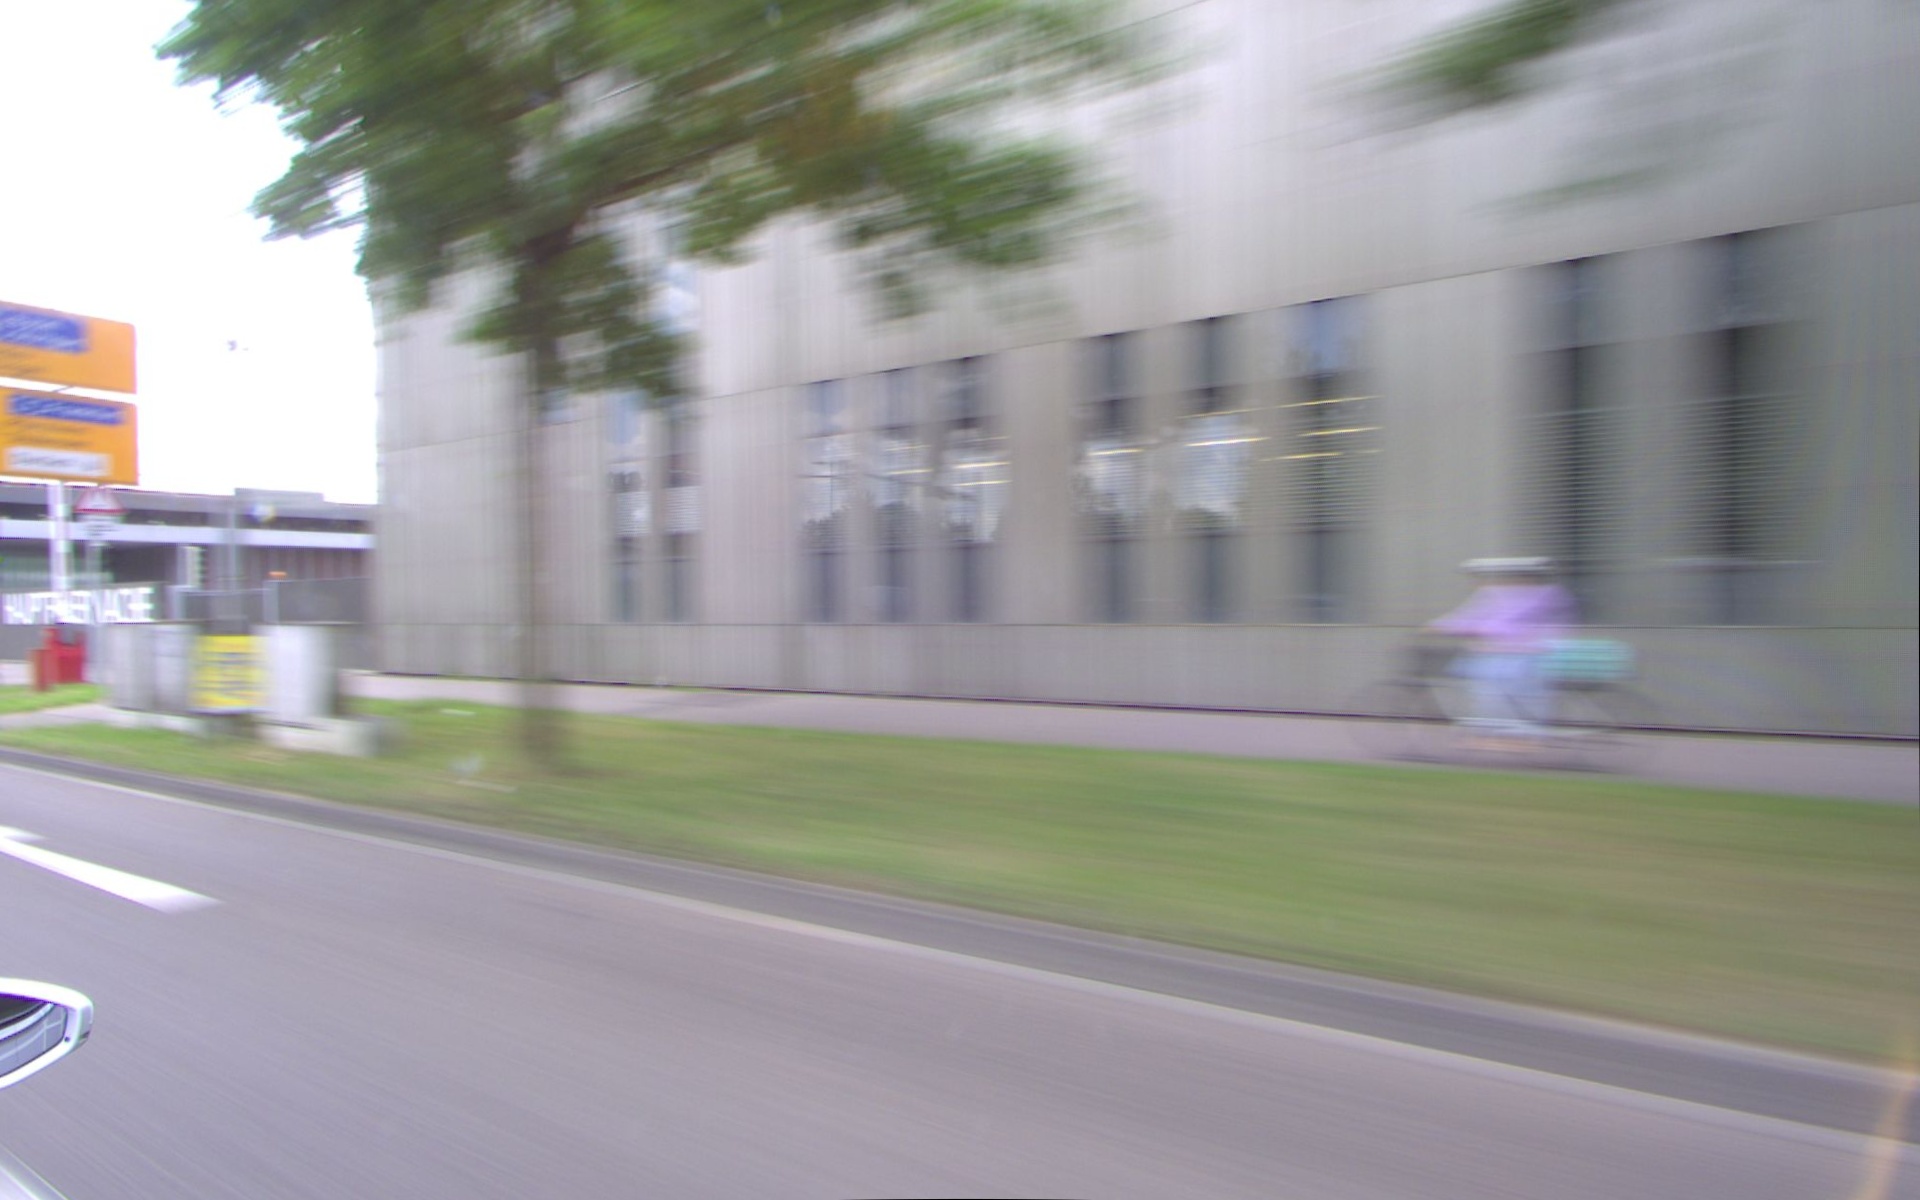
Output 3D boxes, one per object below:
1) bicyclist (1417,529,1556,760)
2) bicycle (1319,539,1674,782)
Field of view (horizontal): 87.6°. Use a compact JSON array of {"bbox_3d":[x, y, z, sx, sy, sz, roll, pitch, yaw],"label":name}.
[{"bbox_3d":[4.354,0.352,8.308,0.973,1.793,0.714,0,1,28],"label":"bicyclist"},{"bbox_3d":[4.349,0.459,8.315,2.495,1.798,0.719,-1,1,29],"label":"bicycle"}]
